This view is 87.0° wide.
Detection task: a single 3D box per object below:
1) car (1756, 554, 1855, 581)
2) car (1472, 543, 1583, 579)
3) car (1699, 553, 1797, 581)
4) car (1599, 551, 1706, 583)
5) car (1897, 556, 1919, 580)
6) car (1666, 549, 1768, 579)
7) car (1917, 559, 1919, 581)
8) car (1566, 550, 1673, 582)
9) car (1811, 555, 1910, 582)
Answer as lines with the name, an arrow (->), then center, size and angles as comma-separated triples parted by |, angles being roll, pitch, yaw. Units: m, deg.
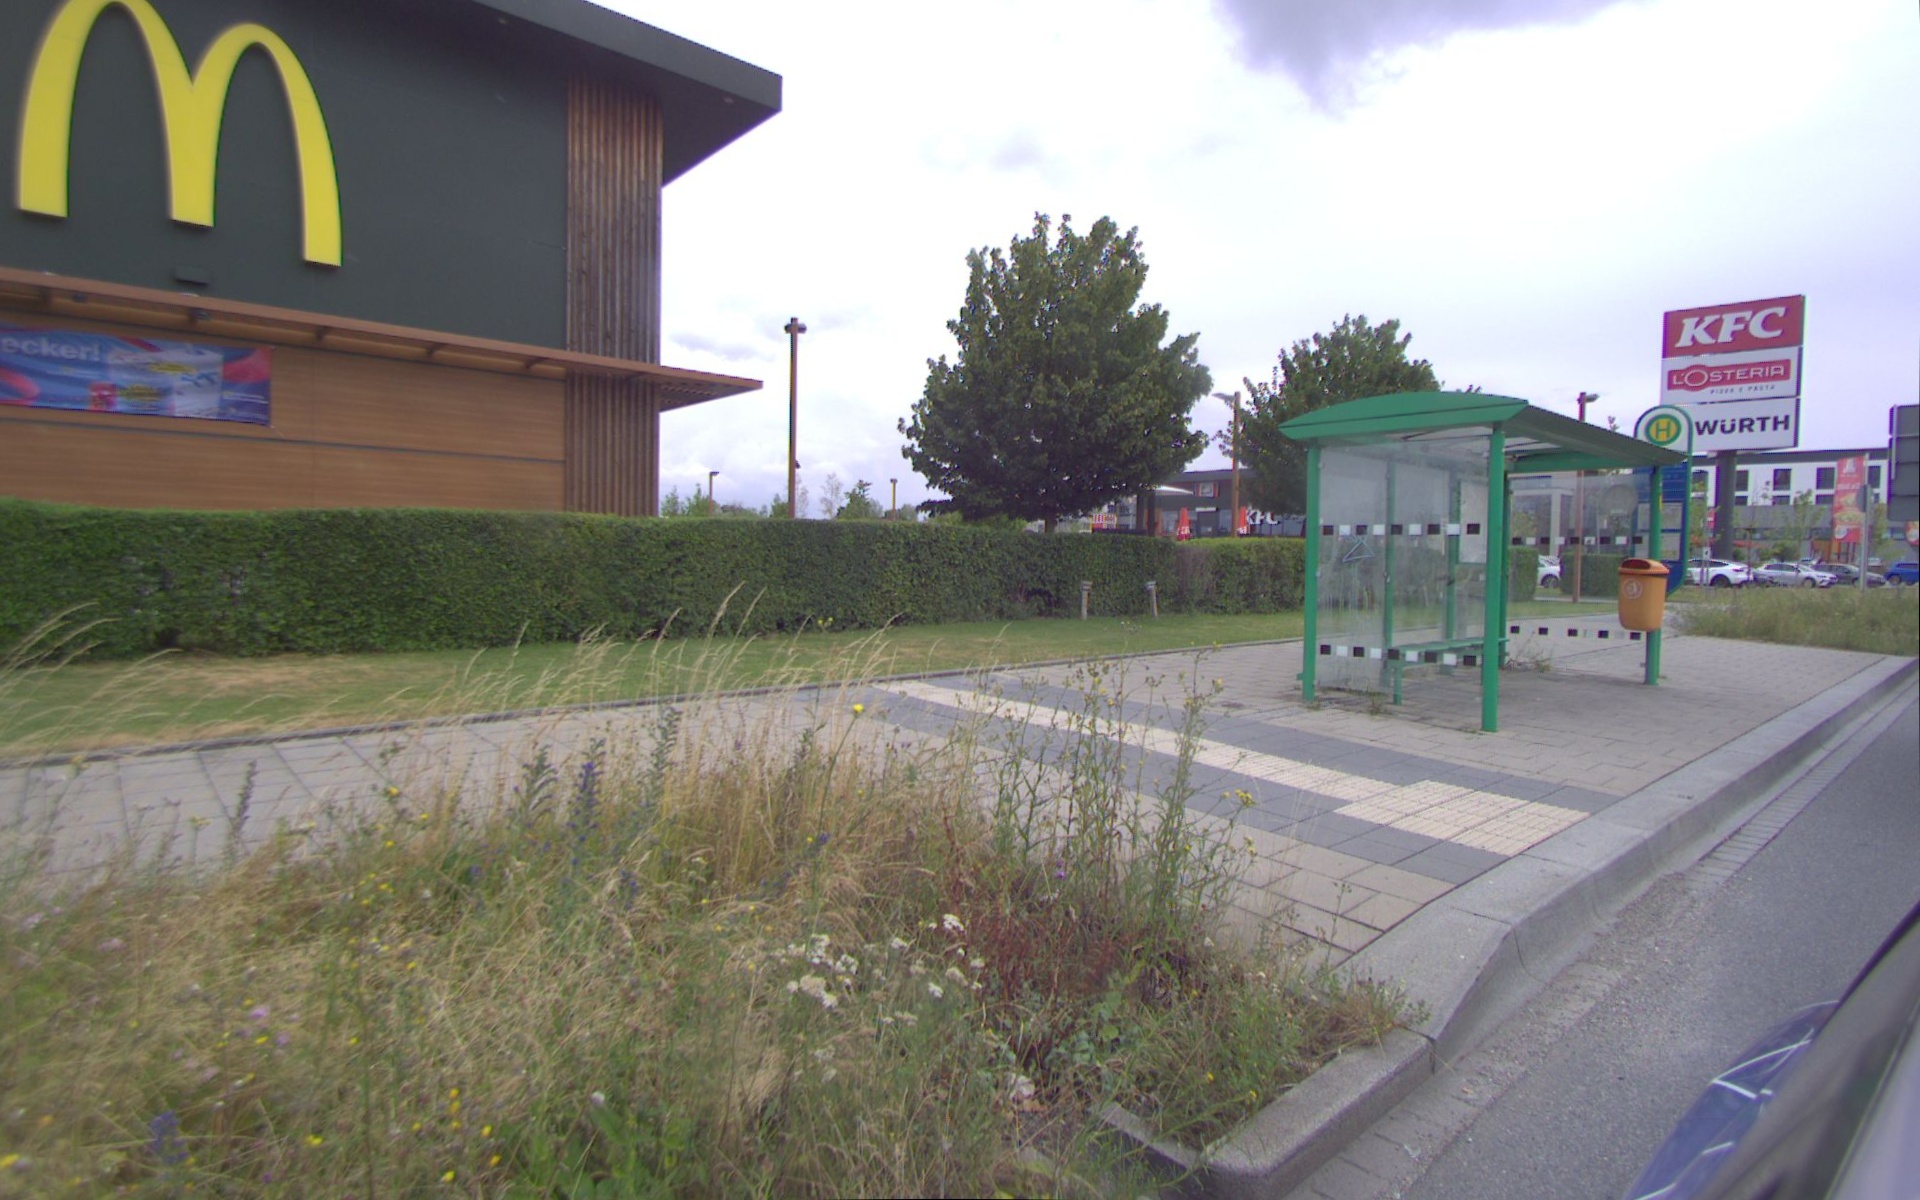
car -> 49.117, -1.932, 58.888 | 1.810, 1.504, 4.007 | -1, 3, -28
car -> 25.616, -1.796, 45.798 | 1.815, 1.546, 3.996 | -1, 3, -40
car -> 44.561, -1.901, 57.329 | 1.811, 1.504, 4.003 | -1, 3, -33
car -> 34.681, -1.684, 50.769 | 1.811, 1.504, 4.003 | -1, 3, -33
car -> 62.394, -2.025, 64.148 | 1.809, 1.504, 4.008 | -2, 2, -24
car -> 40.531, -1.928, 54.251 | 1.811, 1.541, 4.003 | -1, 3, -33
car -> 64.790, -1.965, 65.298 | 1.809, 1.504, 4.008 | -2, 2, -24
car -> 32.224, -1.709, 49.538 | 1.811, 1.504, 4.003 | -1, 3, -33
car -> 53.664, -1.899, 60.377 | 1.810, 1.504, 4.007 | -1, 3, -28
